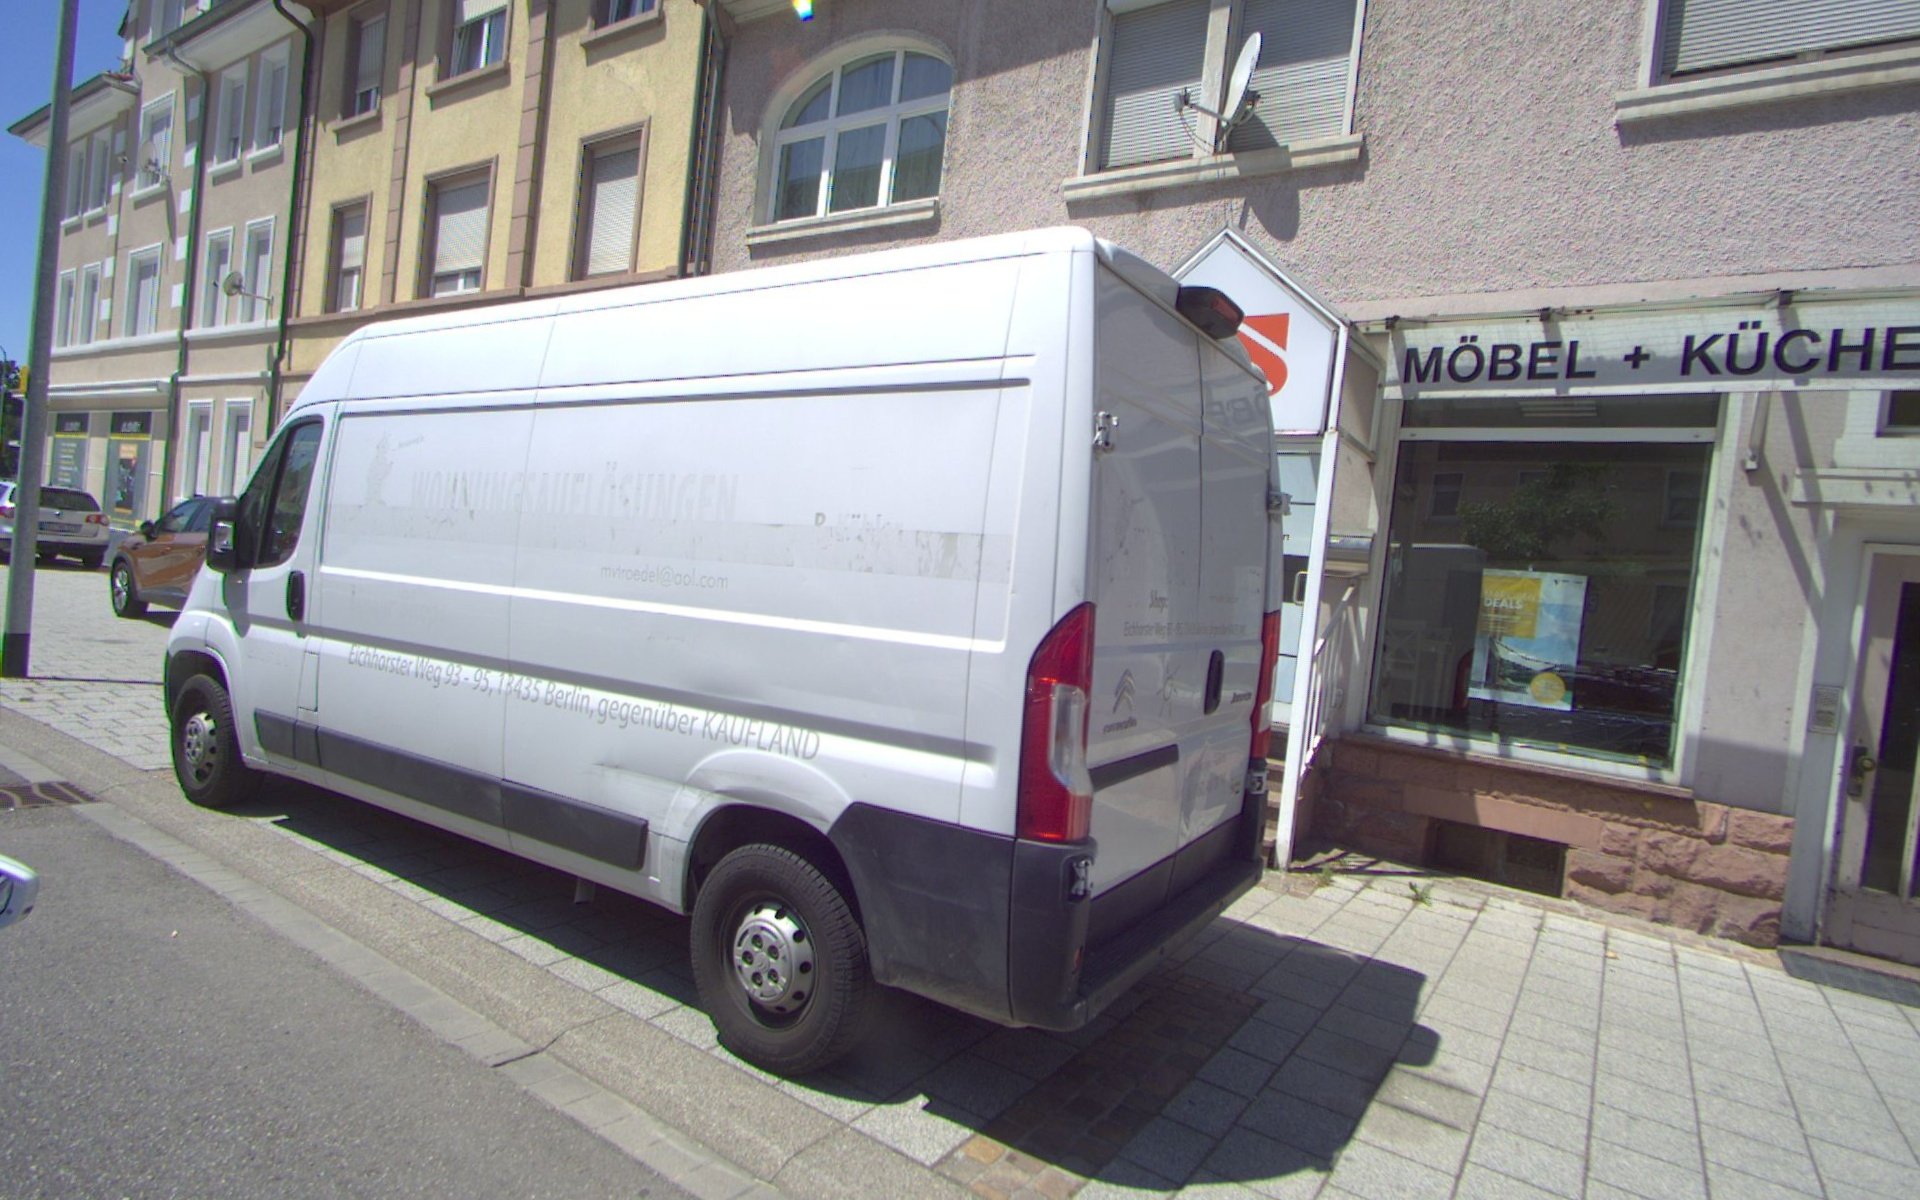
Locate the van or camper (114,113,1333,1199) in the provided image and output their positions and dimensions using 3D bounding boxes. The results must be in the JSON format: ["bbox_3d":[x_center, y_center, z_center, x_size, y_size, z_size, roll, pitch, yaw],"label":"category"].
[{"bbox_3d":[-1.518,-0.056,4.822,5.671,2.623,2.165,7,2,32],"label":"van or camper"}]

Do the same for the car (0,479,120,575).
[{"bbox_3d":[-18.130,-1.470,19.315,4.614,1.550,1.764,6,1,33],"label":"car"}]

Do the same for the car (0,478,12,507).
[{"bbox_3d":[-52.391,-5.874,54.230,1.630,1.528,3.524,2,4,-39],"label":"car"}]

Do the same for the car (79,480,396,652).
[{"bbox_3d":[-8.872,-0.468,12.239,4.292,1.642,1.672,7,3,33],"label":"car"}]
